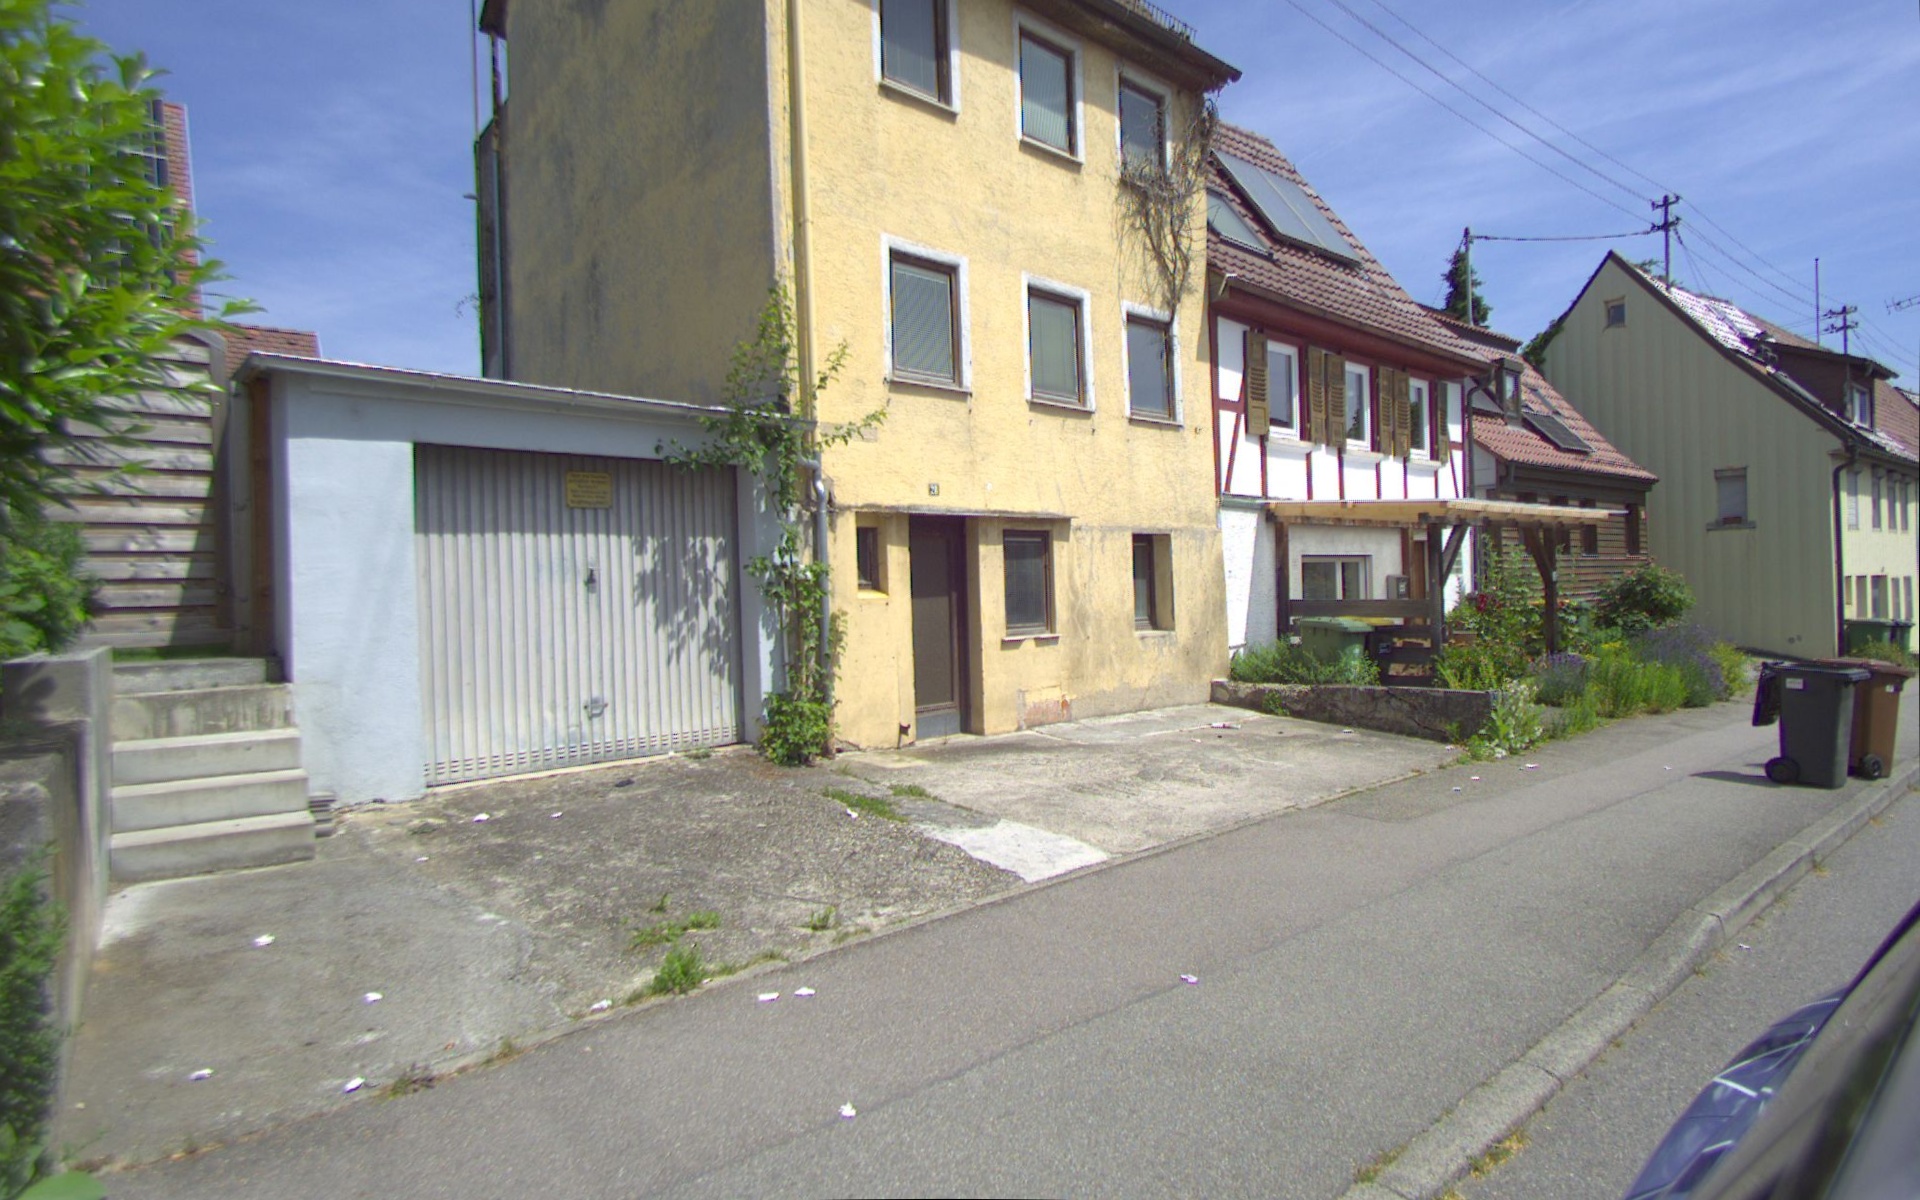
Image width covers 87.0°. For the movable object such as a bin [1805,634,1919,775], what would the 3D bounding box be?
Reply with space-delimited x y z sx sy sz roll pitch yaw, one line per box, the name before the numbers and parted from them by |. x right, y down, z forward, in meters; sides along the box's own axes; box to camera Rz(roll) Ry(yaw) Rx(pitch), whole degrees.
movable object such as a bin | 7.238 0.817 8.075 0.537 1.046 0.497 2 2 -17

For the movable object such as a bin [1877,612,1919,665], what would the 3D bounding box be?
movable object such as a bin | 19.187 0.781 20.677 0.541 1.046 0.548 1 1 -37

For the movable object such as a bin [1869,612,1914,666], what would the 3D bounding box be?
movable object such as a bin | 18.710 0.777 20.324 0.541 1.046 0.548 1 1 -37

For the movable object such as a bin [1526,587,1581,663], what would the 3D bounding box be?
movable object such as a bin | 9.655 0.395 16.470 0.540 1.171 0.536 0 6 -43

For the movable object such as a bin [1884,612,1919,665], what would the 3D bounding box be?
movable object such as a bin | 19.659 0.788 21.030 0.541 1.046 0.548 1 1 -37

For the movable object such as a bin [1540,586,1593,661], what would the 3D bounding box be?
movable object such as a bin | 10.111 0.386 16.875 0.502 1.171 0.536 0 6 -42

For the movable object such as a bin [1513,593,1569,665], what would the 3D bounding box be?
movable object such as a bin | 9.228 0.452 16.075 0.540 1.069 0.536 0 6 -43

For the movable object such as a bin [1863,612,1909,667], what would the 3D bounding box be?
movable object such as a bin | 18.229 0.769 19.922 0.541 1.046 0.548 1 1 -37
